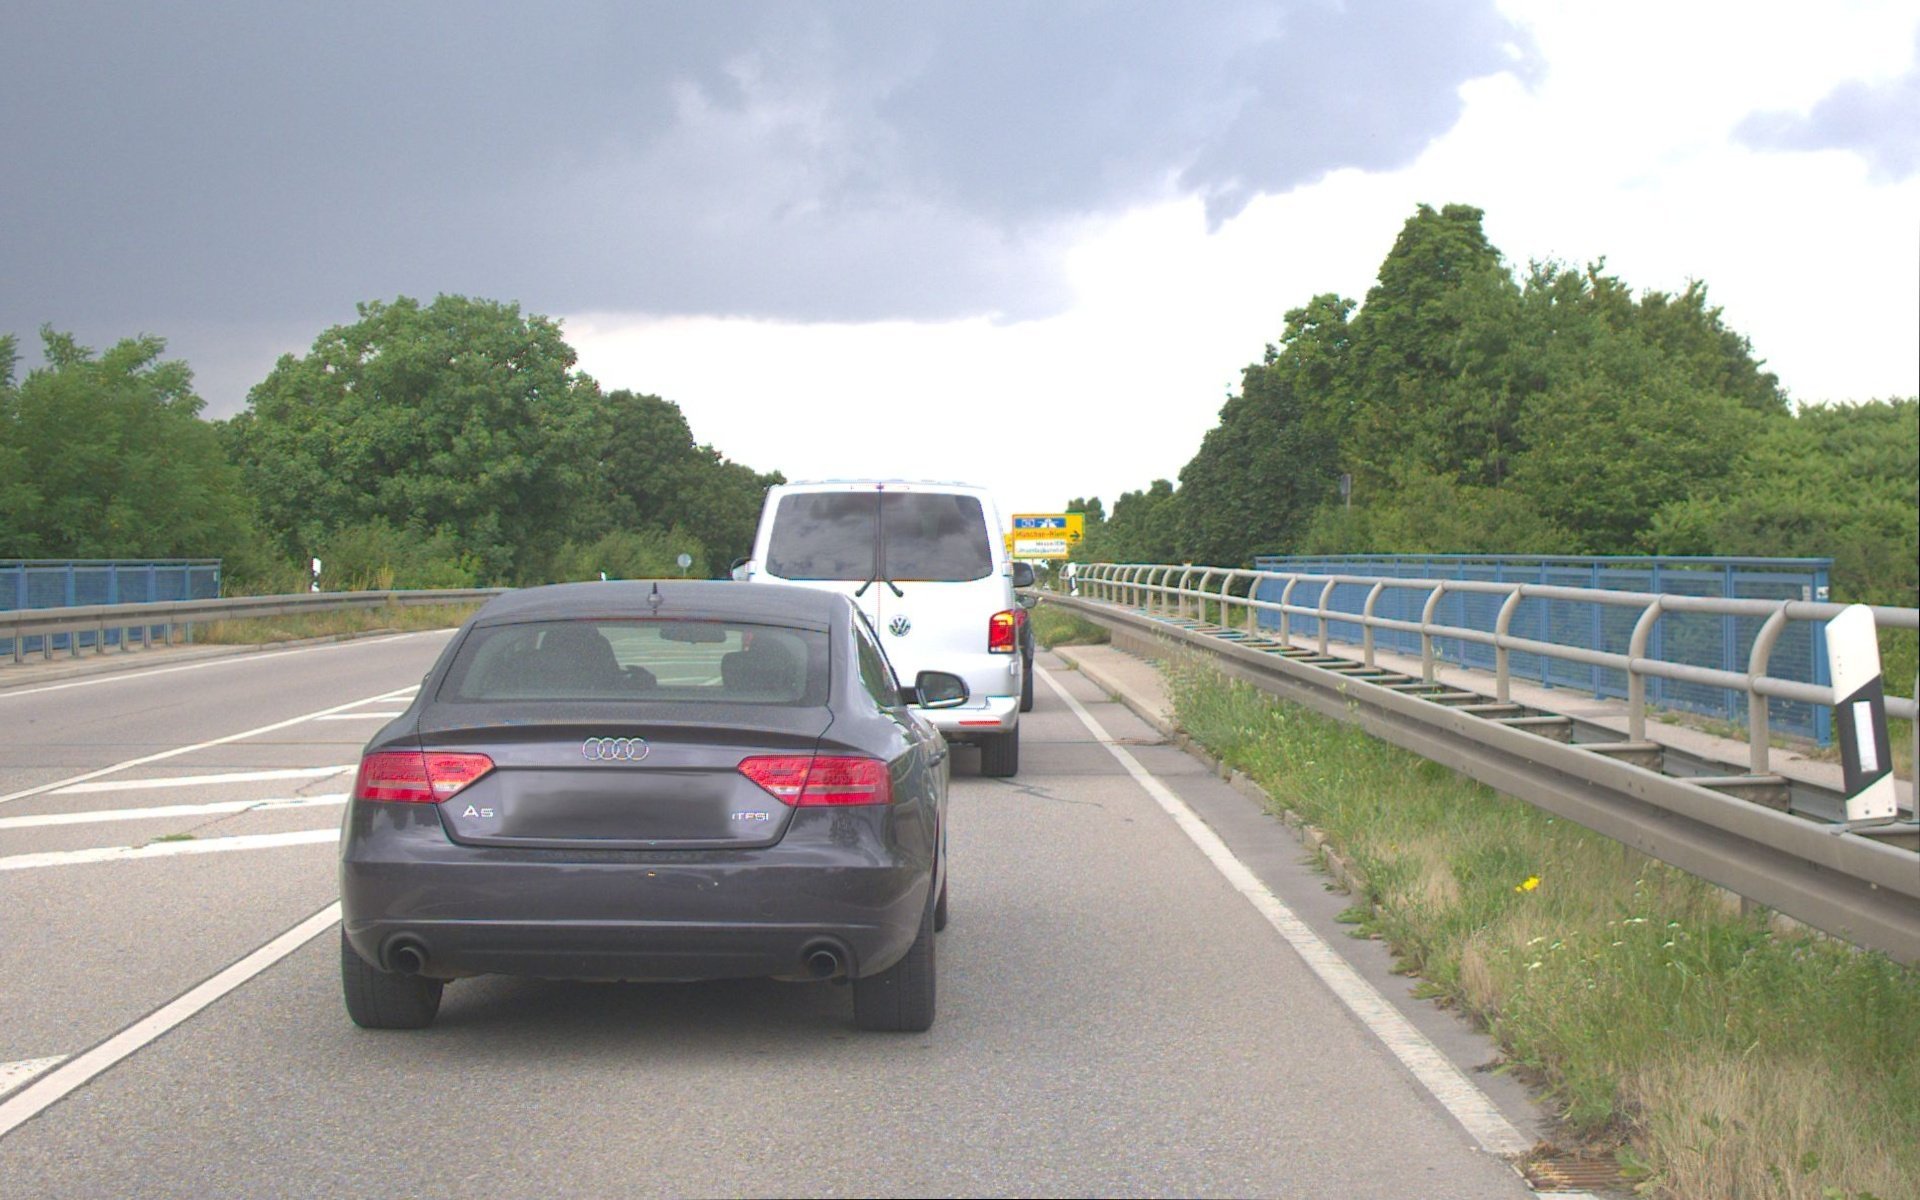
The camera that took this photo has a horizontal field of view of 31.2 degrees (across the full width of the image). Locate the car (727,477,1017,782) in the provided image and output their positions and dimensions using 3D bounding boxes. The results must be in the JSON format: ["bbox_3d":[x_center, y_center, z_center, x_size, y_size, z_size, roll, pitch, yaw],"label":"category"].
[{"bbox_3d":[-0.576,0.162,23.830,1.828,1.929,4.000,0,1,-1],"label":"car"}]

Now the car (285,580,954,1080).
[{"bbox_3d":[-0.962,0.636,11.692,1.821,1.376,4.072,0,1,1],"label":"car"}]

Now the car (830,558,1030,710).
[{"bbox_3d":[-0.252,0.286,33.324,1.821,1.376,4.072,0,1,1],"label":"car"}]
